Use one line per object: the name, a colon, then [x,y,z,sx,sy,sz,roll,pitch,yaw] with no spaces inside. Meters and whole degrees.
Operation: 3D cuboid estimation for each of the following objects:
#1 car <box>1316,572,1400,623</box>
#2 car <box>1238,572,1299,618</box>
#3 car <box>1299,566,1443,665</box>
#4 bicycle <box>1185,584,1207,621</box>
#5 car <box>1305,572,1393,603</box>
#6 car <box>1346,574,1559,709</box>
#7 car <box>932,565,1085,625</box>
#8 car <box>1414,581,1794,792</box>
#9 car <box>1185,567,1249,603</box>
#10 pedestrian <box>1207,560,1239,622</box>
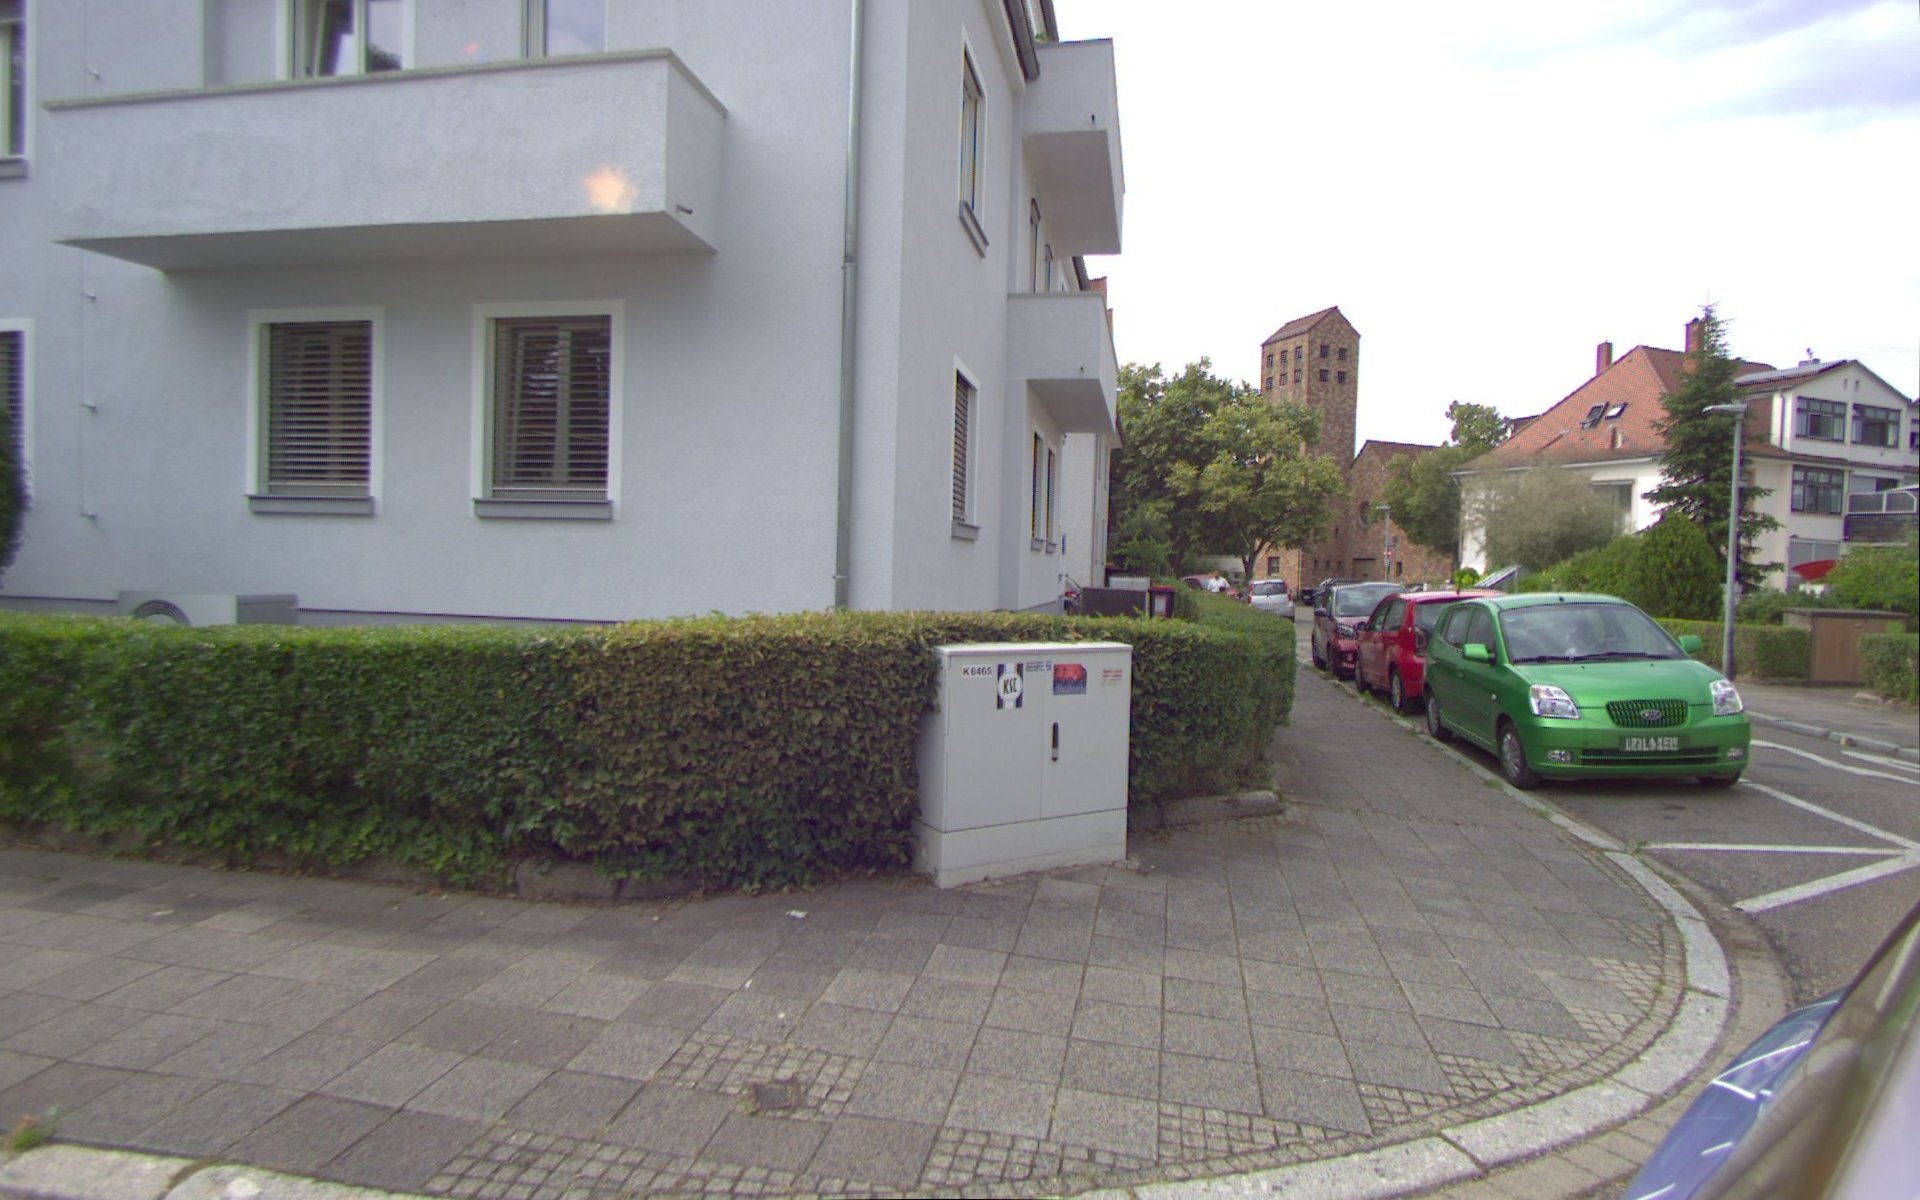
car: [13.460,-0.135,34.468,1.826,1.498,4.030,4,2,11]
car: [10.802,-0.215,35.624,1.625,1.514,3.471,-1,1,11]
car: [7.030,0.202,17.647,1.625,1.514,3.471,-1,1,11]
bicycle: [7.580,0.061,32.563,0.416,1.117,2.111,2,2,7]
car: [21.129,-0.703,55.159,4.162,1.481,1.679,2,3,12]
car: [6.315,0.450,13.386,1.625,1.514,3.471,-1,1,11]
car: [1.374,-0.180,28.033,3.939,1.482,1.993,2,2,13]
car: [5.356,0.594,8.967,1.625,1.439,3.471,-1,1,11]
car: [11.332,-0.682,44.847,1.618,1.514,3.486,-2,1,-6]
pedestrian: [8.355,-0.293,32.233,0.870,1.901,1.075,2,2,12]
